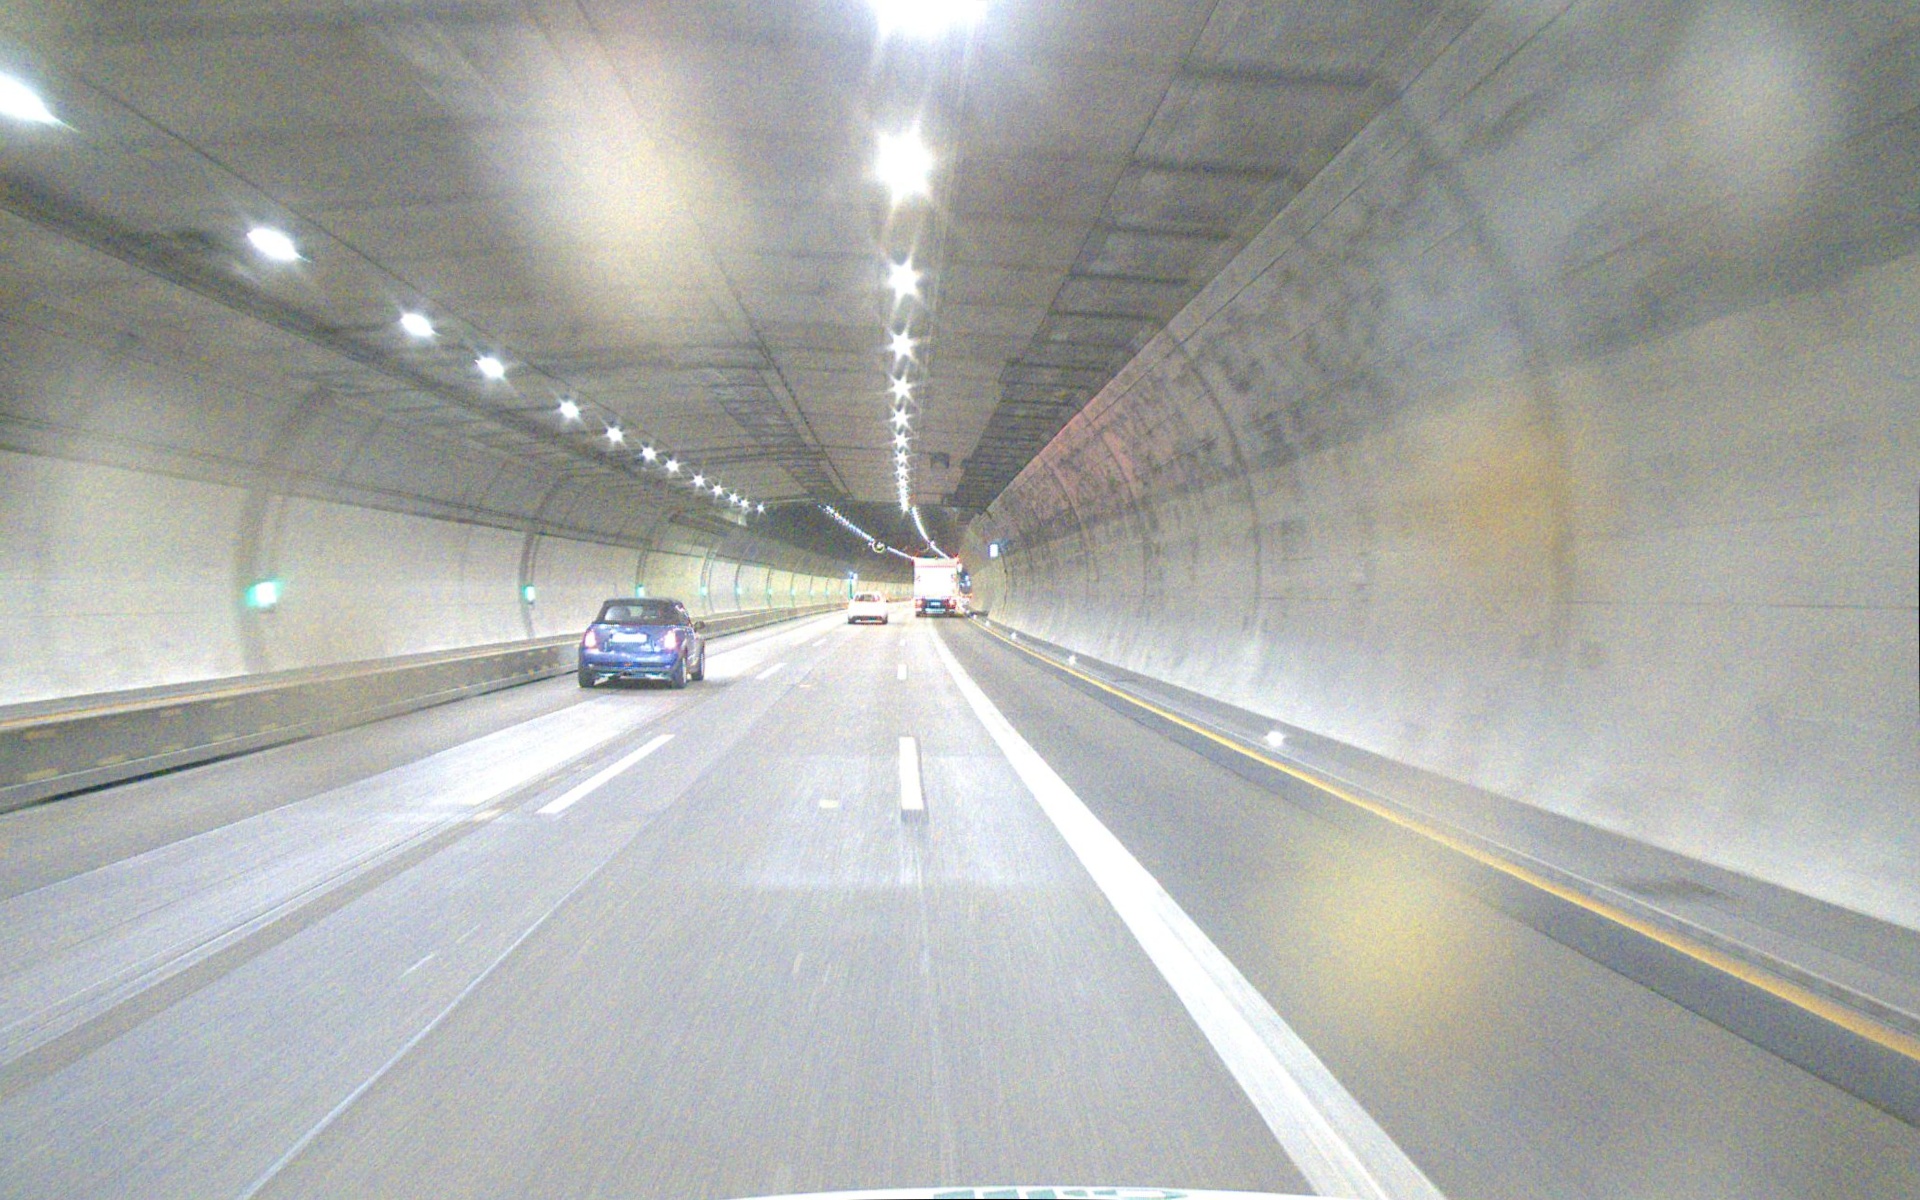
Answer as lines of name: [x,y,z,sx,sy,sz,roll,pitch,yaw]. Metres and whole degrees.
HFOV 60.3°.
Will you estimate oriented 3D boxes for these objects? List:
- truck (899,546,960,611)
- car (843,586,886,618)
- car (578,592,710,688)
truck: [-1.815,-1.297,101.003,3.519,3.714,10.721,0,0,-1]
car: [-4.508,0.074,77.897,1.954,1.437,4.739,0,0,-4]
car: [-5.135,0.611,27.324,1.656,1.442,3.920,1,0,-4]
